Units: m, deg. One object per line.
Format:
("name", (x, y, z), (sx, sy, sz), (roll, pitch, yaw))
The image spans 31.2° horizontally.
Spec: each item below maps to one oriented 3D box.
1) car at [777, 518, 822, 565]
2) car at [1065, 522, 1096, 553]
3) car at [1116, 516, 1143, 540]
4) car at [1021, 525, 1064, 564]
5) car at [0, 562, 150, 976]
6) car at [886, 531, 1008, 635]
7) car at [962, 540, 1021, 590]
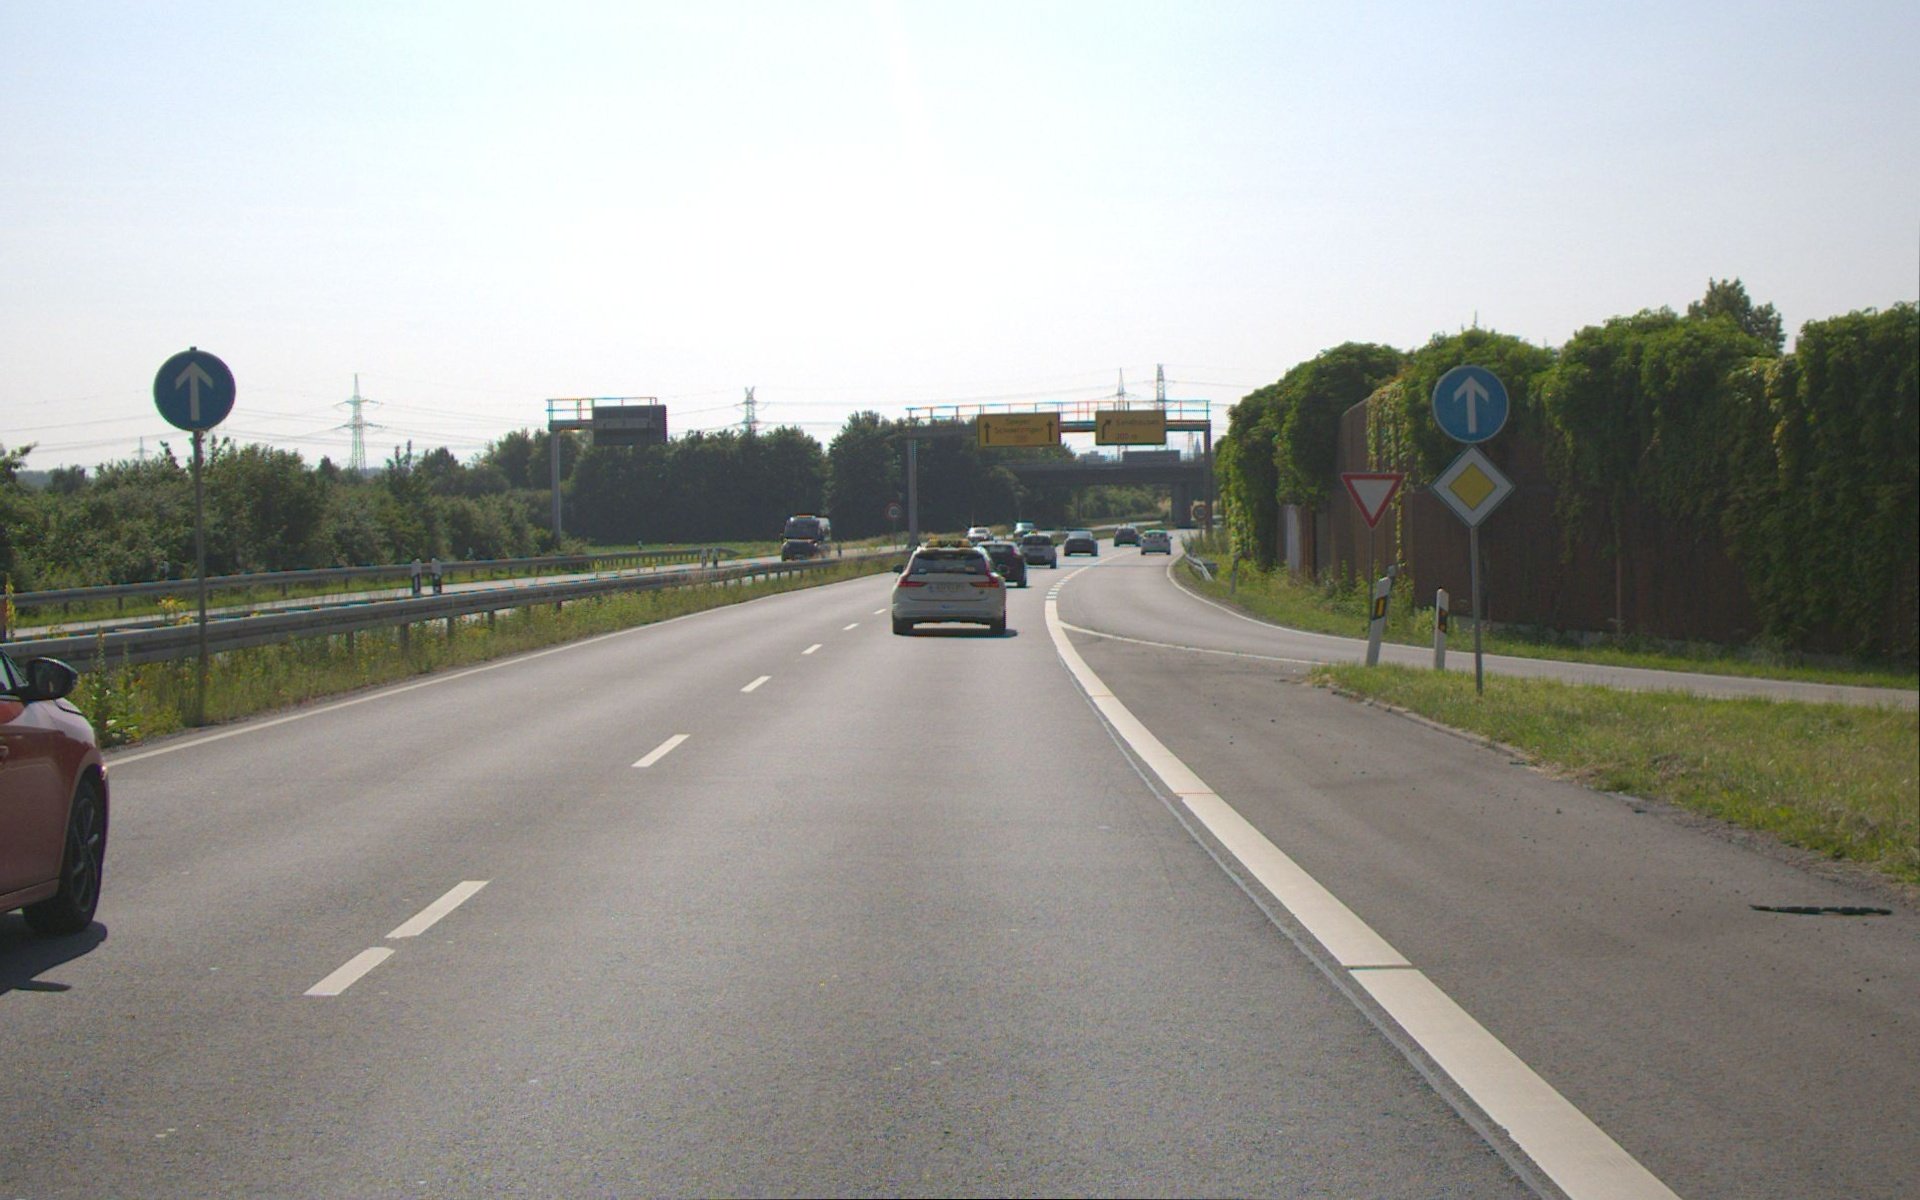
("car", (-8.774, -3.216, 188.261), (2.139, 2.532, 5.809), (0, 1, 1))
("car", (7.114, -3.709, 202.878), (1.841, 1.796, 4.000), (0, 1, 2))
("car", (12.378, -5.236, 250.611), (1.841, 1.692, 4.000), (0, 1, 4))
("car", (3.736, -2.501, 154.468), (1.769, 1.730, 3.631), (0, 1, 4))
("car", (-4.195, 0.599, 12.040), (1.709, 1.432, 4.412), (-1, 1, -1))
("car", (-0.204, -0.315, 57.736), (1.958, 1.596, 4.107), (1, 2, 0))
("car", (1.001, -1.102, 106.980), (1.793, 1.538, 3.672), (0, 1, 1))
